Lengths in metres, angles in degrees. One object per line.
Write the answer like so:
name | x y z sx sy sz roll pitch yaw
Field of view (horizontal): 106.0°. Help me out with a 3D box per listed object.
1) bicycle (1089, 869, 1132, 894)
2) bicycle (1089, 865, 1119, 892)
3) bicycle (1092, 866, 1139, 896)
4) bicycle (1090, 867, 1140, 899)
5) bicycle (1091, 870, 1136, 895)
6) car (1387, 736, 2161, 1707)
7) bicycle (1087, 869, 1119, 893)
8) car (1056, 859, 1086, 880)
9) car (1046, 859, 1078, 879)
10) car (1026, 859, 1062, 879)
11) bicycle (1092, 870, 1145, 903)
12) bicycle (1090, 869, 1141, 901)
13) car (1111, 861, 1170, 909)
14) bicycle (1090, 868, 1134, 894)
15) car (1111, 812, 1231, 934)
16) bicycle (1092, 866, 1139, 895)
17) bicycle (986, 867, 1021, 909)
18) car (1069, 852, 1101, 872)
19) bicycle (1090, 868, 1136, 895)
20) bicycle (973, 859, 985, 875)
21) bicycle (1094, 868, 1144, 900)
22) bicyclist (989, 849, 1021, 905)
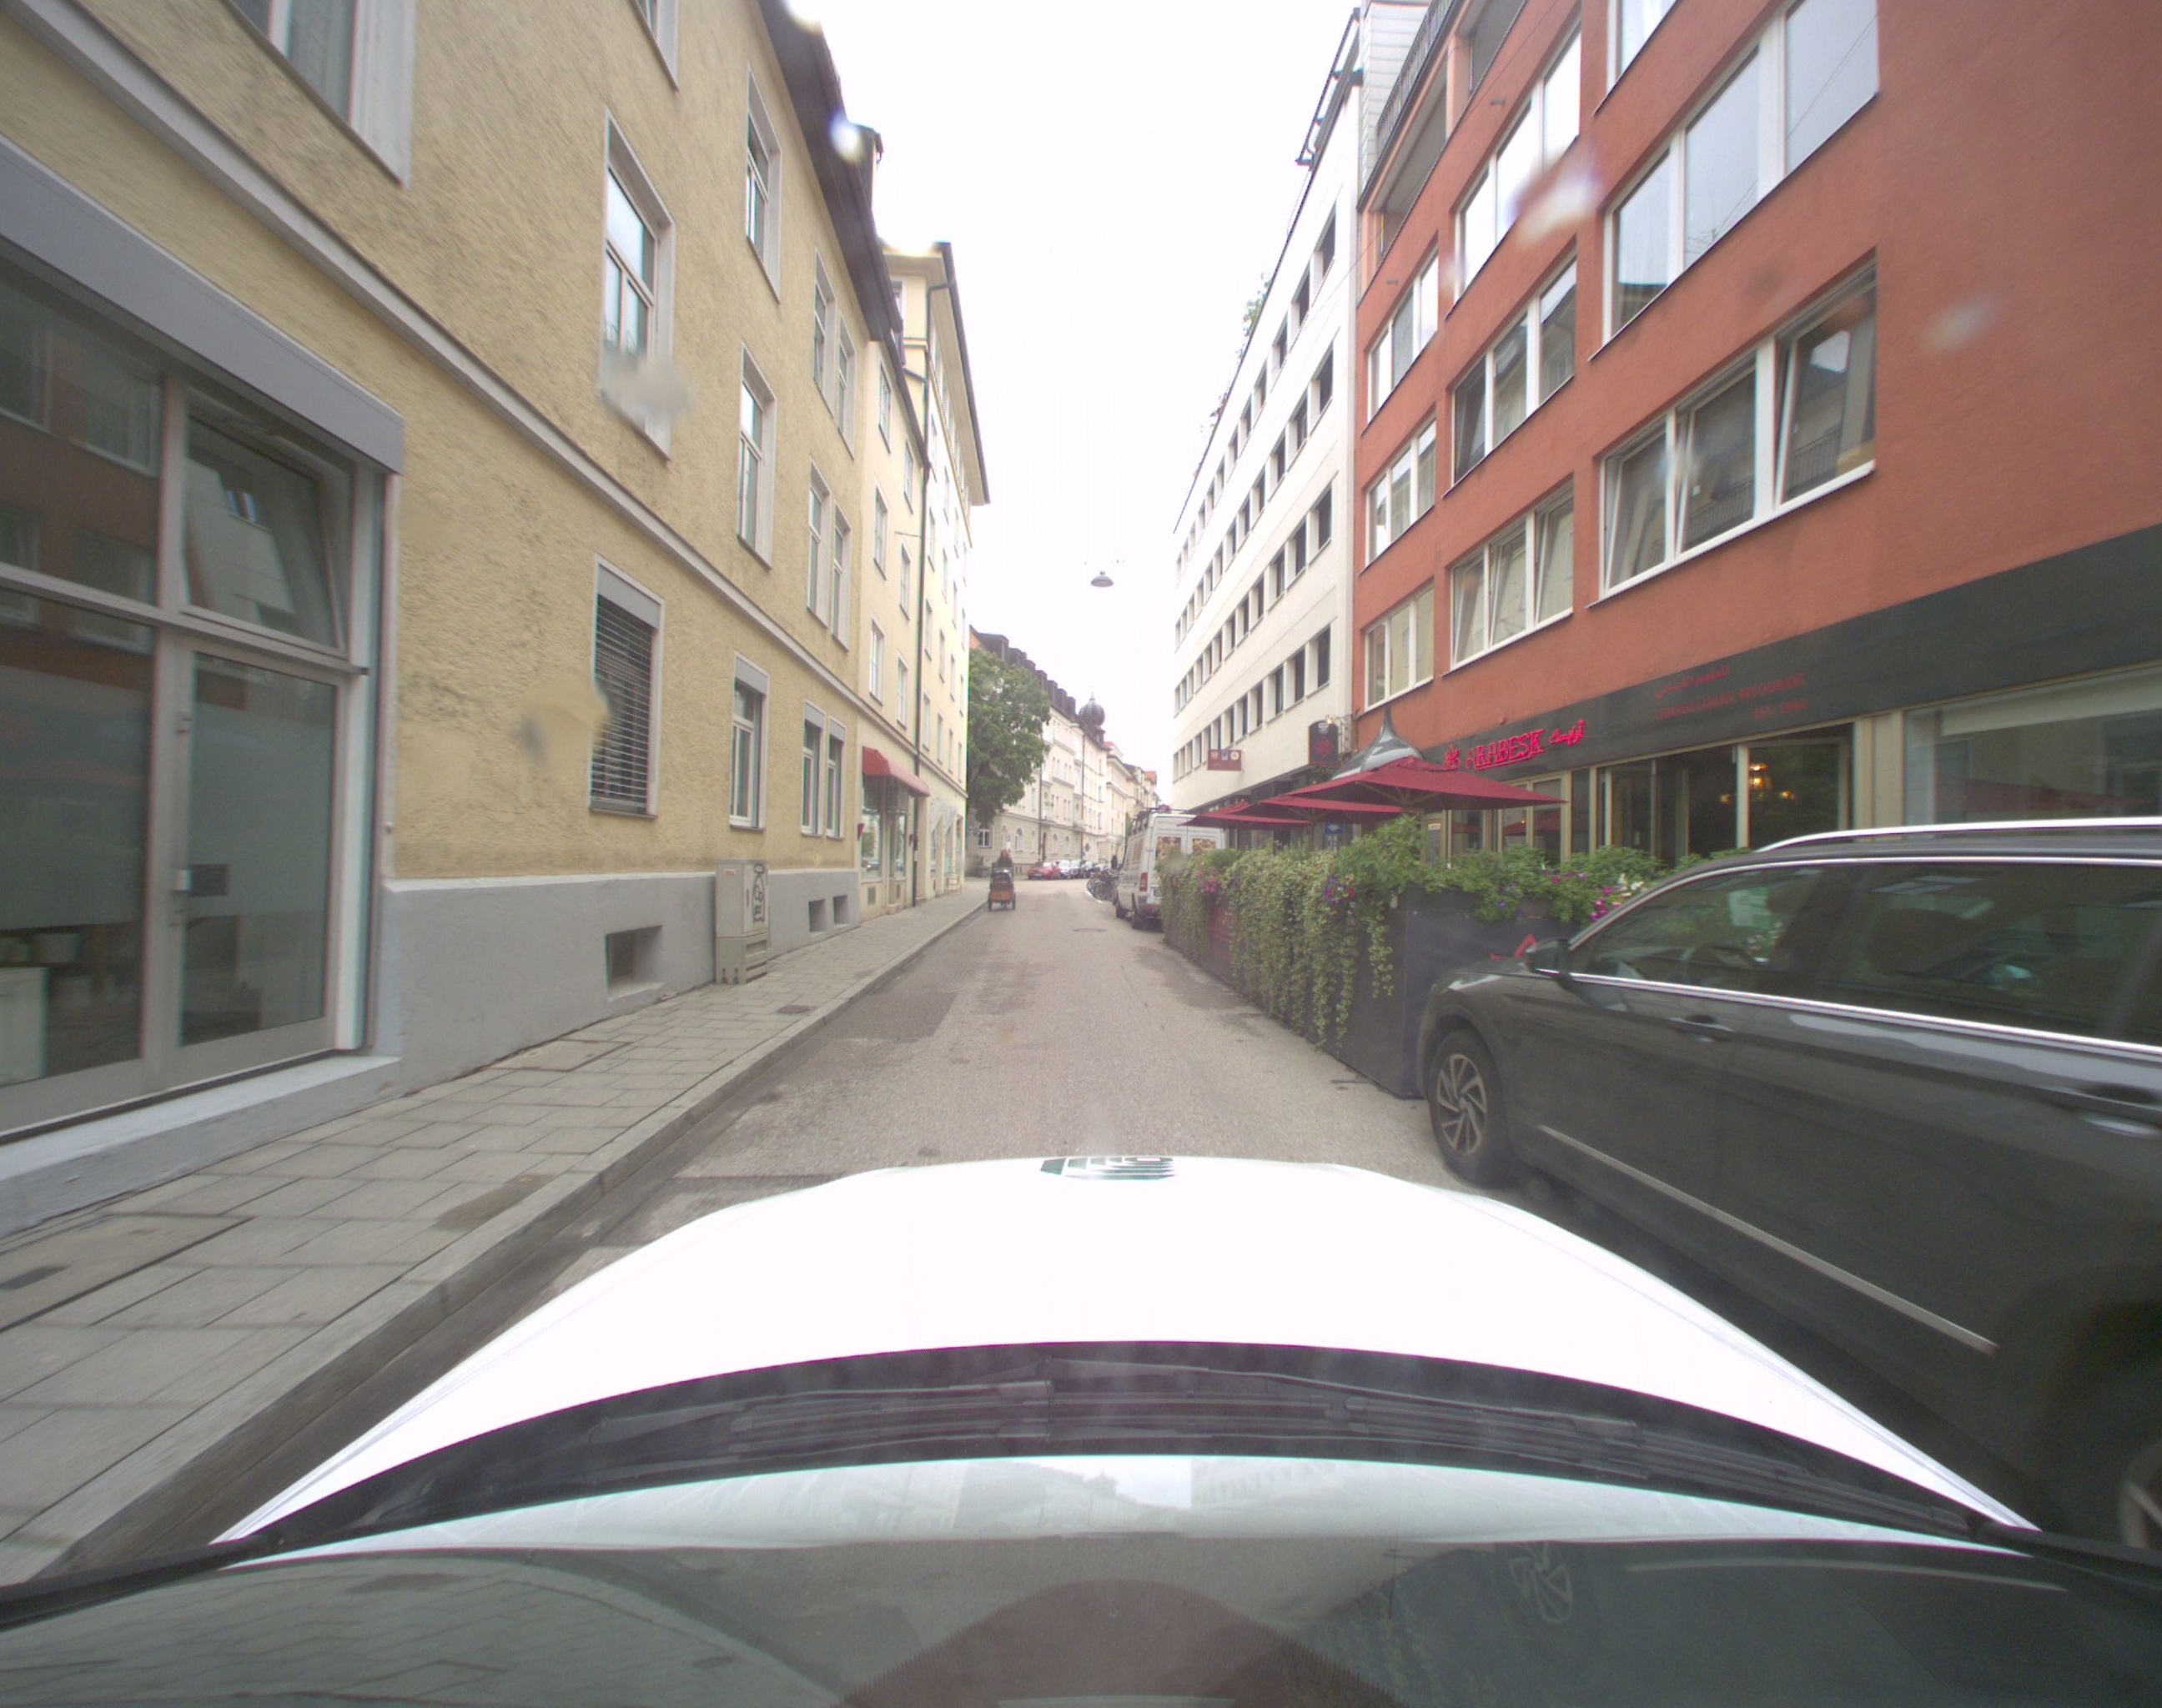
bicycle | 1.298 1.213 36.296 1.871 1.080 0.407 1 0 -6
bicycle | 1.123 1.179 39.773 1.452 1.285 0.445 2 -1 -2
bicycle | 1.424 1.096 33.292 1.870 1.204 0.578 0 -1 -5
bicycle | 1.323 1.142 31.871 1.870 1.204 0.488 1 0 -5
bicycle | 1.418 1.249 35.164 1.871 1.052 0.563 1 -2 -6
car | 2.778 0.686 2.654 1.819 1.710 4.386 2 -1 -1
bicycle | 1.055 1.282 38.757 1.451 1.069 0.462 2 -1 -10
car | -0.815 1.304 69.274 1.932 1.702 4.008 1 -1 8
car | -1.450 1.188 64.714 1.983 1.473 4.225 1 -1 6
car | -2.684 1.096 59.553 1.720 1.378 4.237 1 -1 10
bicycle | 1.395 1.210 30.396 1.870 1.080 0.488 3 0 -5
bicycle | 1.315 1.192 31.350 1.870 1.108 0.488 3 0 -5
car | 1.916 0.991 27.124 1.576 1.464 3.549 1 -1 -2
bicycle | 1.352 1.199 35.859 1.871 1.080 0.401 1 0 -6
car | 2.012 0.415 20.108 1.916 2.506 5.990 2 0 -3
bicycle | 1.424 1.107 33.889 1.890 1.170 0.565 0 -1 -6
bicycle | -2.394 1.040 25.469 0.929 1.257 2.412 0 -1 -2
car | 0.438 0.764 74.682 1.980 1.738 4.536 1 -1 12
bicycle | 1.349 1.171 34.458 1.871 1.095 0.439 1 0 -6
bicycle | -7.263 0.930 58.072 0.491 1.052 1.828 1 1 3
bicycle | 1.519 1.191 32.563 1.870 1.157 0.564 3 0 -5
bicyclist | -2.404 0.710 25.793 0.924 1.721 1.098 0 -1 -2
